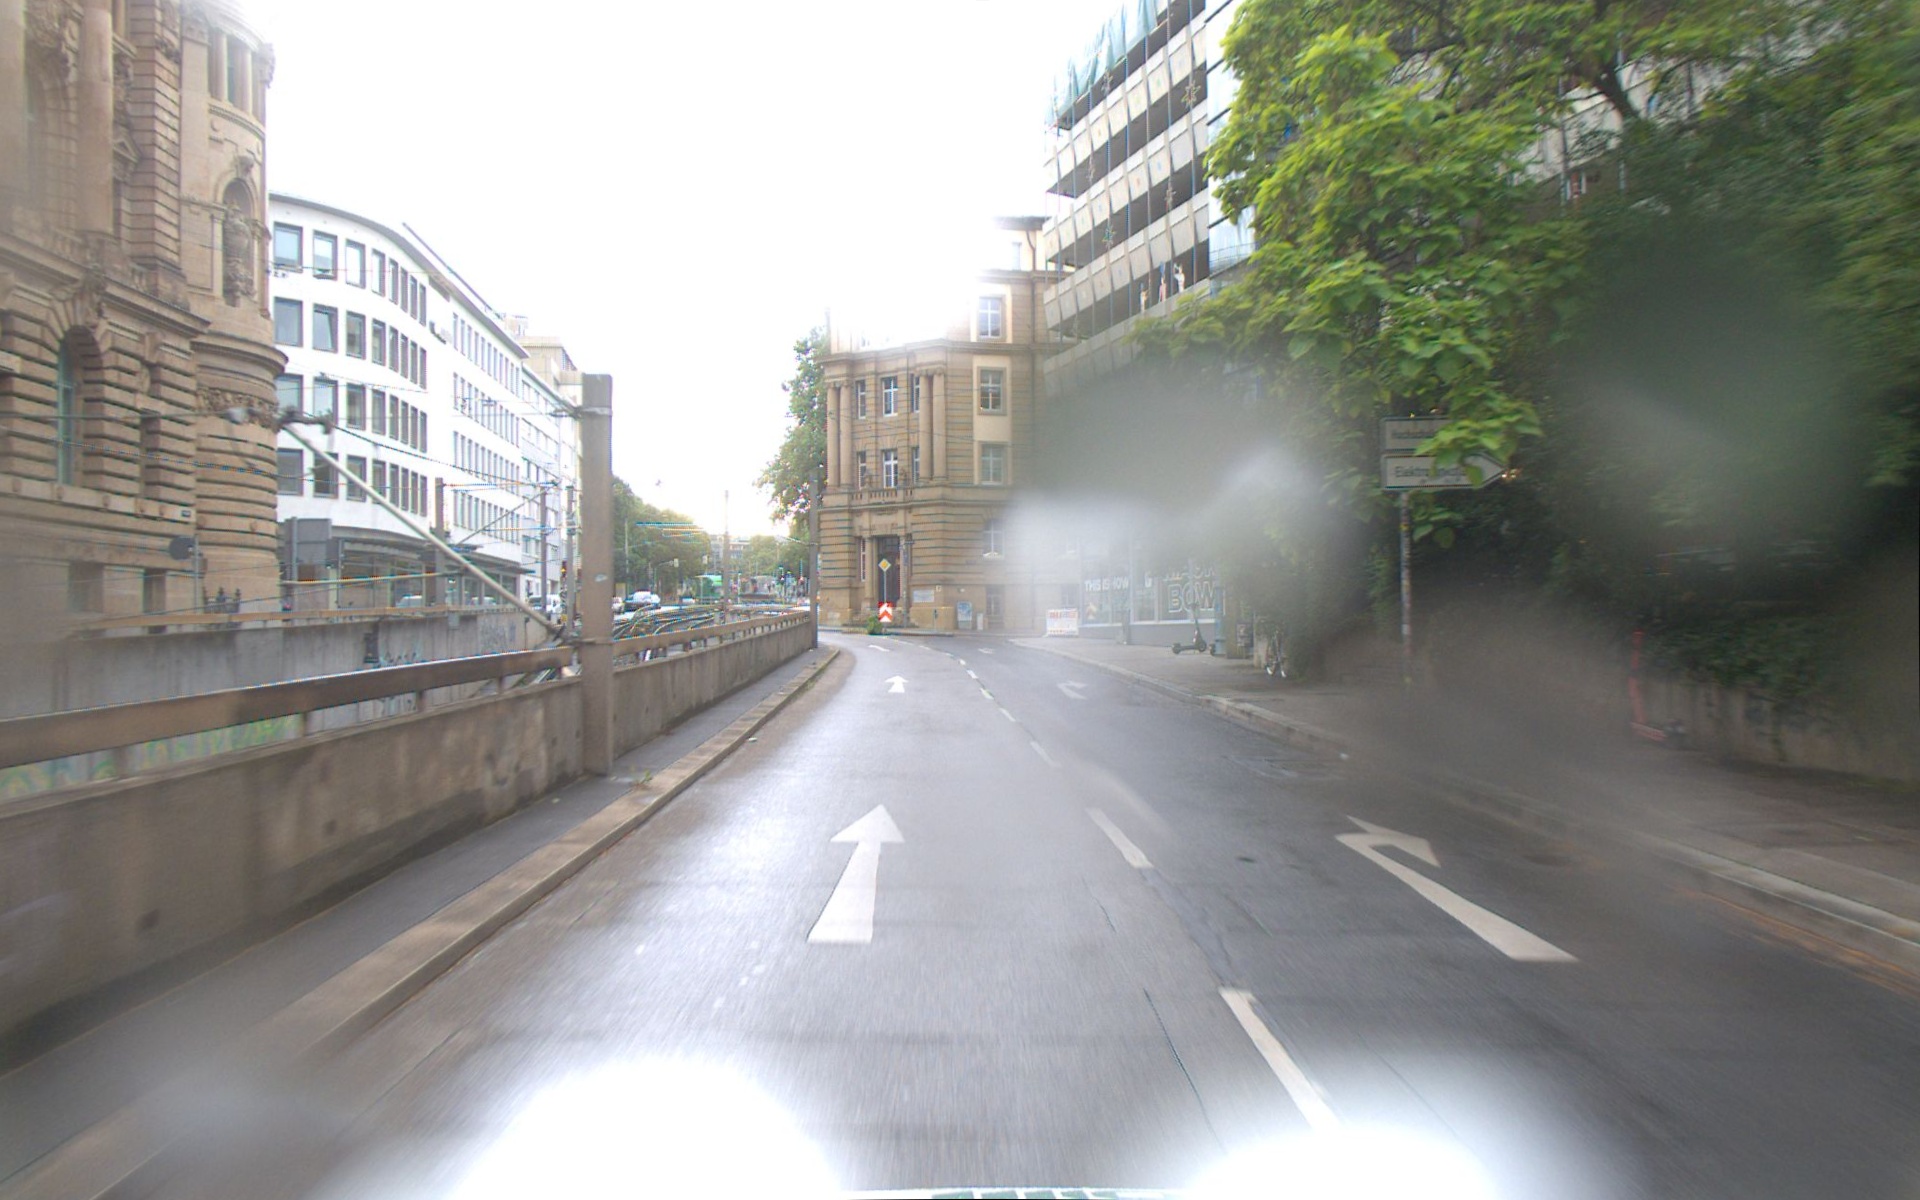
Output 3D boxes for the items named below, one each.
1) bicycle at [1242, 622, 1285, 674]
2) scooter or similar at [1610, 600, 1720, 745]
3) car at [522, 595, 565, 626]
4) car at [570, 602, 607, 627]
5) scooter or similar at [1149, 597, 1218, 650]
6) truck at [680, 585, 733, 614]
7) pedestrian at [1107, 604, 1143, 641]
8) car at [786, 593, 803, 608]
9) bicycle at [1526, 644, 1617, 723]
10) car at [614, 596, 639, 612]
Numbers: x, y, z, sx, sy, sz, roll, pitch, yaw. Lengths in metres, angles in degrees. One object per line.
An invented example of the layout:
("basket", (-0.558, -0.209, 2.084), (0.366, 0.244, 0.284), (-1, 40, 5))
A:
("bicycle", (5.606, 0.879, 30.603), (0.460, 0.900, 1.689), (-1, 0, -1))
("scooter or similar", (6.594, 0.650, 15.518), (0.438, 1.281, 1.211), (-2, 0, -1))
("car", (-26.351, 0.655, 104.714), (1.955, 1.916, 4.920), (0, 0, -7))
("car", (-23.997, 0.904, 106.934), (1.955, 1.554, 3.657), (0, 0, -7))
("scooter or similar", (5.751, 0.591, 42.545), (1.615, 1.290, 0.737), (-2, 1, -27))
("truck", (-32.471, -0.052, 211.830), (7.781, 3.446, 1.989), (2, 0, 40))
("pedestrian", (5.250, 0.706, 52.718), (0.740, 1.143, 1.242), (0, 0, -15))
("car", (-18.889, 0.059, 188.596), (1.955, 1.691, 3.994), (0, 0, -6))
("bicycle", (6.617, 0.890, 17.949), (0.490, 0.767, 1.211), (-2, 0, -1))
("car", (-31.464, 0.399, 156.213), (1.955, 1.482, 4.305), (0, 0, -7))
